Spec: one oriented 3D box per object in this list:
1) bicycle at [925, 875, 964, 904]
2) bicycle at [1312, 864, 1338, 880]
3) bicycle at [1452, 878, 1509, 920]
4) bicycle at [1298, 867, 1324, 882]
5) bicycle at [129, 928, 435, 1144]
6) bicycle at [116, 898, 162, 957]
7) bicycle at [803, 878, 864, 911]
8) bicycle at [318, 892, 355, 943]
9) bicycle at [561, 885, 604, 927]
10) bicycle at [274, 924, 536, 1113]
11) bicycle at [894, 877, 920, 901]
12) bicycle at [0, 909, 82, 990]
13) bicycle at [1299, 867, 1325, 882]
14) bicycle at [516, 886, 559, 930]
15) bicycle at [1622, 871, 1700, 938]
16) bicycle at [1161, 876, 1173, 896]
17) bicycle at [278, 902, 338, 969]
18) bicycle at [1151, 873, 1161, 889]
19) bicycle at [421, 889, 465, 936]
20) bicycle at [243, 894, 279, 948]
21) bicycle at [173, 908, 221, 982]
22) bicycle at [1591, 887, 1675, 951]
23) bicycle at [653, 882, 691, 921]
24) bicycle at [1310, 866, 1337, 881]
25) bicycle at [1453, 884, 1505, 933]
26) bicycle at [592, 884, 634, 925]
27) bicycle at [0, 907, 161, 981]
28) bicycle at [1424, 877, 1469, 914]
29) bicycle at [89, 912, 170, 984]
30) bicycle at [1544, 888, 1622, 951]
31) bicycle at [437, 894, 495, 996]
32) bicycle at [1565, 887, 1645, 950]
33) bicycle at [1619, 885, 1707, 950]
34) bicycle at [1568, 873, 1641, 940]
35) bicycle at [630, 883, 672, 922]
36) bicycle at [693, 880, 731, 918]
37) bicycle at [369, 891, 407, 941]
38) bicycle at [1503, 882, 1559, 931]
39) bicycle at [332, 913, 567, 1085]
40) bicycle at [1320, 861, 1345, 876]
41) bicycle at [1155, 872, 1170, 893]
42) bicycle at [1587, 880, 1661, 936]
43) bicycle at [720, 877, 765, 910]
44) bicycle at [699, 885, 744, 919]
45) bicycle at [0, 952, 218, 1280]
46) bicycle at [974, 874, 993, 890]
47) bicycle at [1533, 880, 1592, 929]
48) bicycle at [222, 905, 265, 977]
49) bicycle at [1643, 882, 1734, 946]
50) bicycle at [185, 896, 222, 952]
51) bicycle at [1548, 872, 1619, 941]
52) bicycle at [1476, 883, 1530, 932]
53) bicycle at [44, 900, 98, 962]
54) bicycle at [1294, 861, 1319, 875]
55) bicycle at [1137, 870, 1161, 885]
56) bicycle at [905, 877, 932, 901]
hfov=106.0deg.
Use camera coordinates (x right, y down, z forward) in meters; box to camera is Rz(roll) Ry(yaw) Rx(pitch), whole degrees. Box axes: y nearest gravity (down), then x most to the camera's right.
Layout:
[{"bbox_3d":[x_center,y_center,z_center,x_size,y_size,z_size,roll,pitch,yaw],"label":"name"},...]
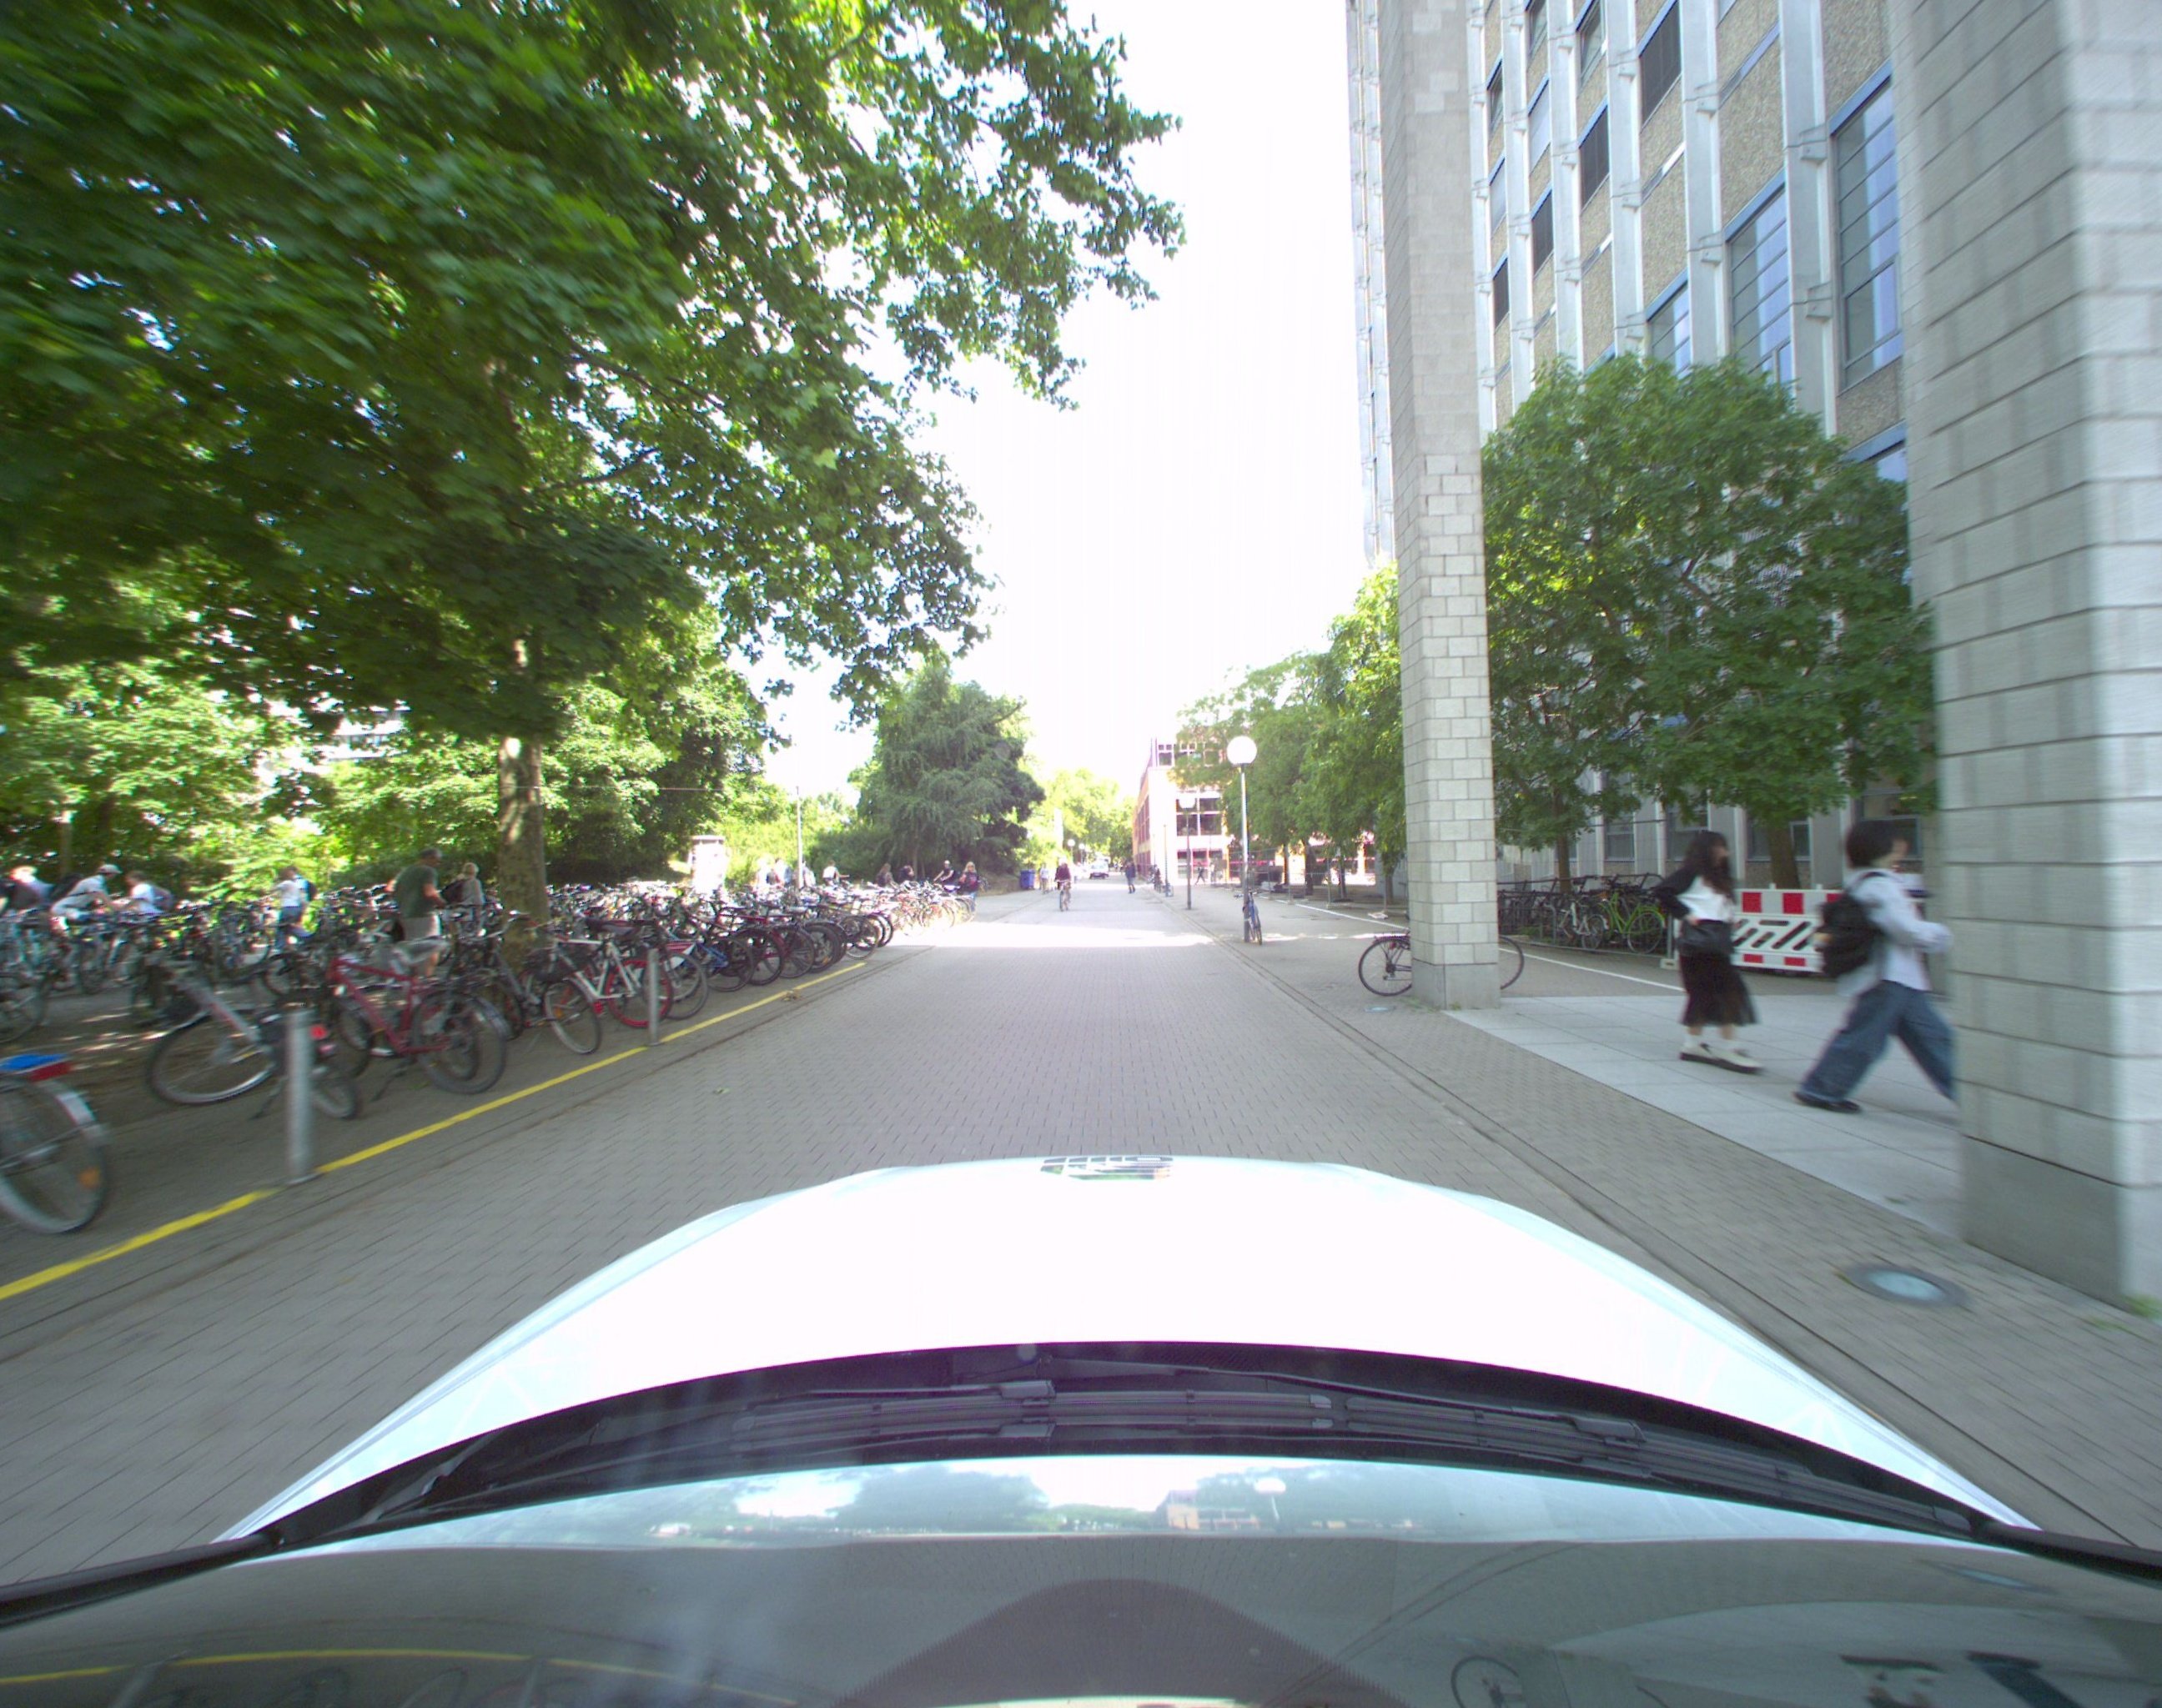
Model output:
[{"bbox_3d":[-5.533,1.430,33.083,0.468,1.110,1.856,-1,-1,31],"label":"bicycle"},{"bbox_3d":[17.306,1.298,57.711,1.686,1.110,0.475,0,-1,5],"label":"bicycle"},{"bbox_3d":[9.548,1.061,19.547,0.290,0.905,1.801,-2,0,-6],"label":"bicycle"},{"bbox_3d":[17.229,1.553,61.147,1.804,1.110,0.523,0,-1,-1],"label":"bicycle"},{"bbox_3d":[-4.786,1.028,4.890,1.612,1.108,0.565,-1,-1,15],"label":"bicycle"},{"bbox_3d":[-19.537,1.498,16.908,1.755,1.110,0.520,-2,-1,44],"label":"bicycle"},{"bbox_3d":[-8.182,1.327,26.970,1.908,1.047,0.538,0,0,-19],"label":"bicycle"},{"bbox_3d":[-17.236,1.442,18.845,1.755,1.110,0.520,-2,-1,44],"label":"bicycle"},{"bbox_3d":[-13.763,1.413,22.464,1.755,1.110,0.477,-2,-1,40],"label":"bicycle"},{"bbox_3d":[-4.493,1.041,5.419,1.612,1.108,0.499,-1,-1,15],"label":"bicycle"},{"bbox_3d":[-7.934,1.580,37.115,0.476,1.047,1.680,0,-1,-39],"label":"bicycle"},{"bbox_3d":[-15.843,1.412,12.355,0.476,1.083,1.680,0,-1,-37],"label":"bicycle"},{"bbox_3d":[17.136,1.500,60.355,1.800,1.110,0.524,0,-1,5],"label":"bicycle"},{"bbox_3d":[-14.497,1.417,21.698,1.755,1.110,0.477,-2,-1,40],"label":"bicycle"},{"bbox_3d":[10.221,0.864,14.400,0.290,1.099,1.447,-2,-1,-1],"label":"bicycle"},{"bbox_3d":[4.258,1.570,40.210,0.394,0.936,1.732,-3,-1,2],"label":"bicycle"},{"bbox_3d":[-13.551,1.399,14.264,1.677,1.083,0.477,-2,-1,37],"label":"bicycle"},{"bbox_3d":[4.766,1.719,51.518,0.449,0.962,1.741,-4,-1,2],"label":"bicycle"},{"bbox_3d":[-15.899,1.430,20.283,1.755,1.110,0.520,-2,-1,40],"label":"bicycle"},{"bbox_3d":[-18.304,1.462,18.167,1.755,1.110,0.520,-2,-1,44],"label":"bicycle"},{"bbox_3d":[-14.576,1.463,13.443,1.678,1.083,0.477,-2,-1,44],"label":"bicycle"},{"bbox_3d":[8.680,0.996,12.872,0.290,0.905,1.447,-2,-1,-1],"label":"bicycle"},{"bbox_3d":[-12.232,1.387,24.327,0.477,1.110,1.756,0,-1,-45],"label":"bicycle"},{"bbox_3d":[17.479,1.425,58.827,1.800,1.110,0.524,0,-1,5],"label":"bicycle"},{"bbox_3d":[8.018,1.077,16.463,0.290,0.905,1.447,-2,-1,-1],"label":"bicycle"},{"bbox_3d":[-13.500,1.432,23.460,1.755,1.110,0.477,-2,-1,40],"label":"bicycle"},{"bbox_3d":[-16.708,1.471,13.599,1.708,1.083,0.597,0,-1,-40],"label":"bicycle"},{"bbox_3d":[9.704,1.085,21.680,0.290,0.905,1.615,-2,-1,-6],"label":"bicycle"},{"bbox_3d":[-14.835,1.432,12.733,0.454,0.962,1.720,0,-1,-37],"label":"bicycle"},{"bbox_3d":[8.001,1.020,13.032,0.290,0.905,1.447,-2,-1,-1],"label":"bicycle"},{"bbox_3d":[-8.164,1.155,10.801,0.578,1.200,1.680,0,-1,-38],"label":"bicycle"},{"bbox_3d":[8.336,1.001,13.016,0.290,0.905,1.447,-2,-1,-1],"label":"bicycle"},{"bbox_3d":[9.138,0.970,12.847,0.290,0.905,1.447,-2,-1,-1],"label":"bicycle"},{"bbox_3d":[9.232,0.891,14.410,0.290,1.094,1.447,-2,-1,-1],"label":"bicycle"},{"bbox_3d":[-12.669,1.408,23.975,1.755,1.110,0.477,-2,-1,40],"label":"bicycle"},{"bbox_3d":[-11.348,1.361,25.006,0.477,1.110,1.756,0,-1,-45],"label":"bicycle"},{"bbox_3d":[-16.594,1.464,19.485,1.755,1.110,0.520,-2,-1,44],"label":"bicycle"},{"bbox_3d":[9.154,1.046,16.624,0.290,0.905,1.447,-2,-1,-1],"label":"bicycle"},{"bbox_3d":[-4.677,1.026,6.035,1.612,1.144,0.499,-1,-1,15],"label":"bicycle"},{"bbox_3d":[19.519,1.109,63.192,1.802,1.110,0.473,0,-1,-4],"label":"bicycle"},{"bbox_3d":[4.626,1.611,46.182,0.705,1.093,1.749,-1,-1,2],"label":"bicycle"},{"bbox_3d":[9.582,0.932,14.410,0.290,0.887,1.447,-2,-1,-1],"label":"bicycle"},{"bbox_3d":[-11.843,1.372,28.458,1.755,1.110,0.477,-1,-1,31],"label":"bicycle"},{"bbox_3d":[-12.216,1.615,27.647,1.755,1.110,0.477,-1,-1,31],"label":"bicycle"},{"bbox_3d":[-4.690,1.004,3.382,1.709,1.108,0.721,-1,-1,12],"label":"bicycle"},{"bbox_3d":[-5.643,1.620,47.264,0.418,0.910,1.747,-1,-2,17],"label":"bicycle"},{"bbox_3d":[9.827,1.014,16.653,0.290,0.905,1.447,-2,-1,-1],"label":"bicycle"},{"bbox_3d":[-14.160,1.439,13.775,1.678,1.083,0.477,-2,-1,44],"label":"bicycle"},{"bbox_3d":[9.544,0.924,12.847,0.290,0.905,1.447,-2,-1,-1],"label":"bicycle"},{"bbox_3d":[-19.007,1.496,17.659,1.755,1.110,0.520,-2,-1,44],"label":"bicycle"},{"bbox_3d":[8.840,0.893,14.367,0.290,1.128,1.447,-2,-1,-1],"label":"bicycle"},{"bbox_3d":[8.554,1.069,16.545,0.290,0.905,1.447,-2,-1,-1],"label":"bicycle"},{"bbox_3d":[-20.100,1.503,16.232,1.755,1.110,0.520,-2,-1,44],"label":"bicycle"},{"bbox_3d":[17.480,1.092,63.189,1.803,1.110,0.523,0,-1,0],"label":"bicycle"},{"bbox_3d":[5.084,1.761,60.865,0.592,1.083,1.884,0,-1,-43],"label":"bicycle"},{"bbox_3d":[-7.518,1.609,37.590,0.476,1.047,1.680,2,-1,-39],"label":"bicycle"}]
